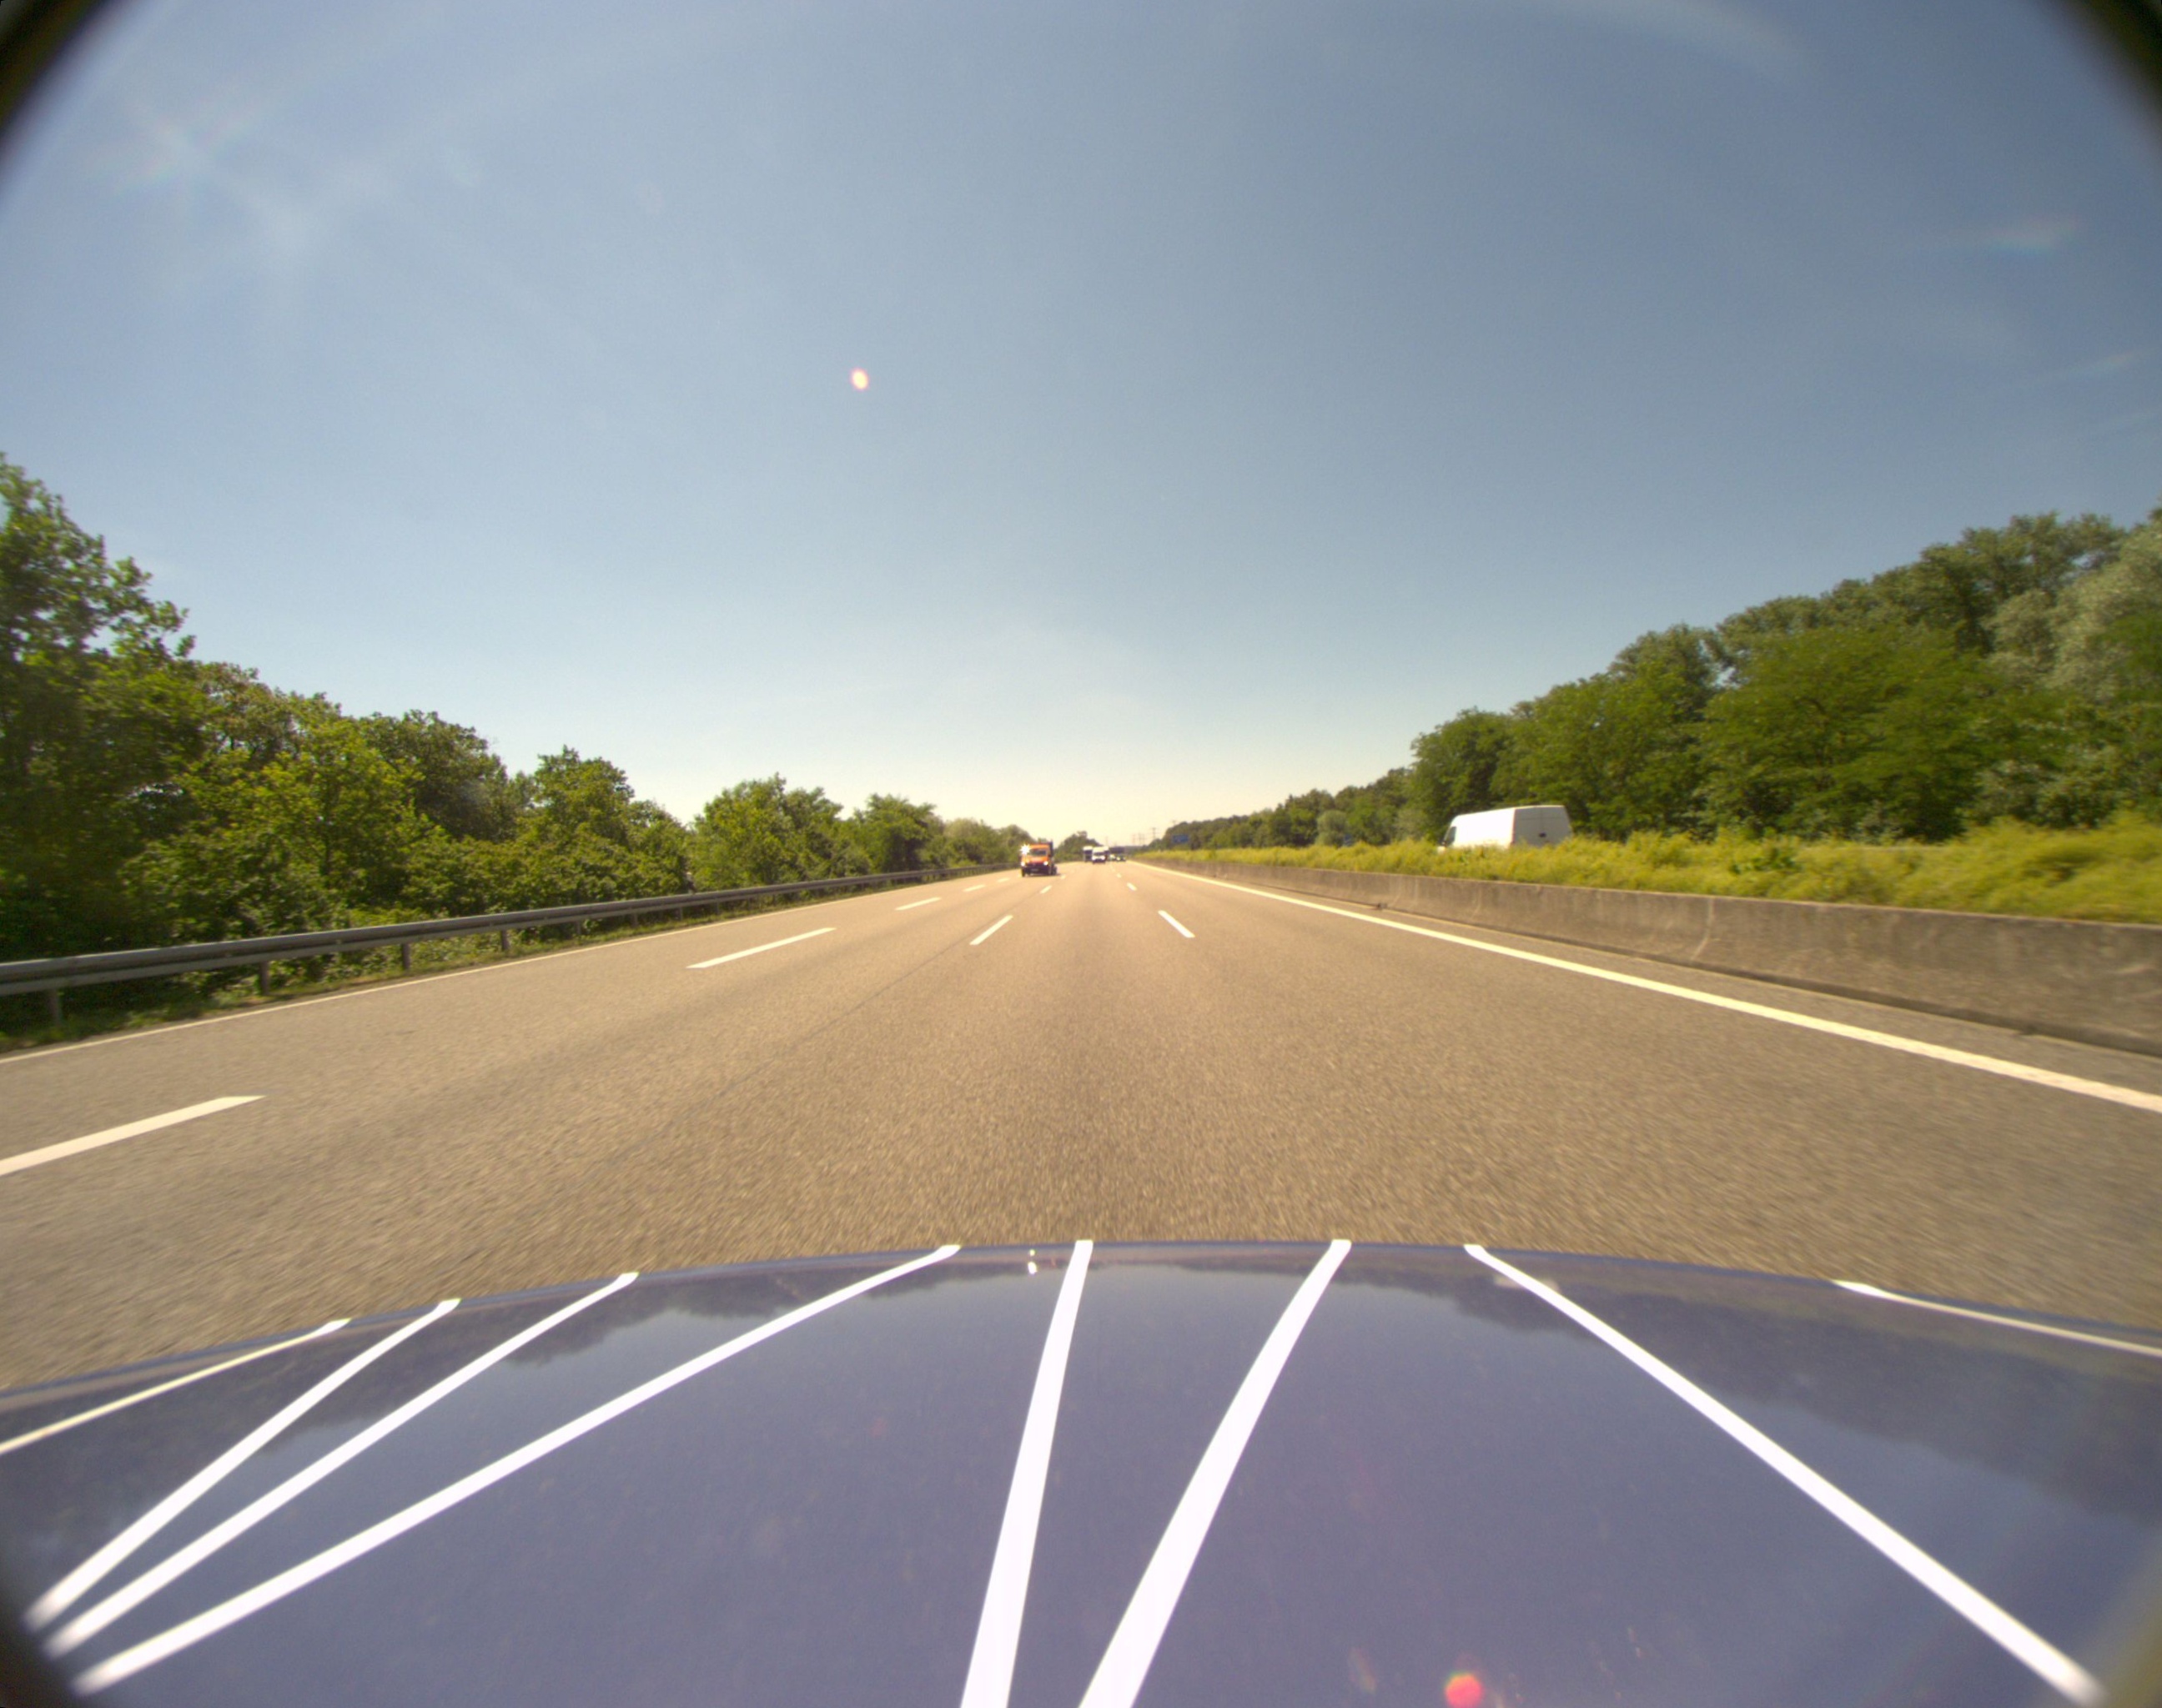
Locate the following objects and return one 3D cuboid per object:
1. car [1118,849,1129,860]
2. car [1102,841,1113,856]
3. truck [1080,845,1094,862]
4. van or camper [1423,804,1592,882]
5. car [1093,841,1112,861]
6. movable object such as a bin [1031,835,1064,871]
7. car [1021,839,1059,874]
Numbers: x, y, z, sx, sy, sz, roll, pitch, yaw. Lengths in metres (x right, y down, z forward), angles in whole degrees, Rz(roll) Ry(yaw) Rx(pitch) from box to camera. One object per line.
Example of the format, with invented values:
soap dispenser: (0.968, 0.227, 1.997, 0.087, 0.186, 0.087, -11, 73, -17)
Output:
car: (8.632, 0.059, 154.095, 1.999, 2.001, 4.001, -2, -1, 0)
car: (7.432, -1.681, 216.091, 2.796, 4.090, 7.306, -2, 1, 1)
truck: (1.553, -0.038, 202.164, 2.990, 4.186, 7.596, -3, 0, 4)
van or camper: (14.853, -0.355, 27.121, 2.256, 2.373, 6.759, -2, 0, 1)
car: (3.420, -0.450, 121.239, 2.521, 2.856, 6.402, -5, -1, 4)
movable object such as a bin: (-2.790, -0.065, 63.785, 2.179, 2.799, 4.762, -2, 0, 3)
car: (-3.012, 0.192, 57.762, 1.998, 2.391, 7.228, -2, 0, 3)
